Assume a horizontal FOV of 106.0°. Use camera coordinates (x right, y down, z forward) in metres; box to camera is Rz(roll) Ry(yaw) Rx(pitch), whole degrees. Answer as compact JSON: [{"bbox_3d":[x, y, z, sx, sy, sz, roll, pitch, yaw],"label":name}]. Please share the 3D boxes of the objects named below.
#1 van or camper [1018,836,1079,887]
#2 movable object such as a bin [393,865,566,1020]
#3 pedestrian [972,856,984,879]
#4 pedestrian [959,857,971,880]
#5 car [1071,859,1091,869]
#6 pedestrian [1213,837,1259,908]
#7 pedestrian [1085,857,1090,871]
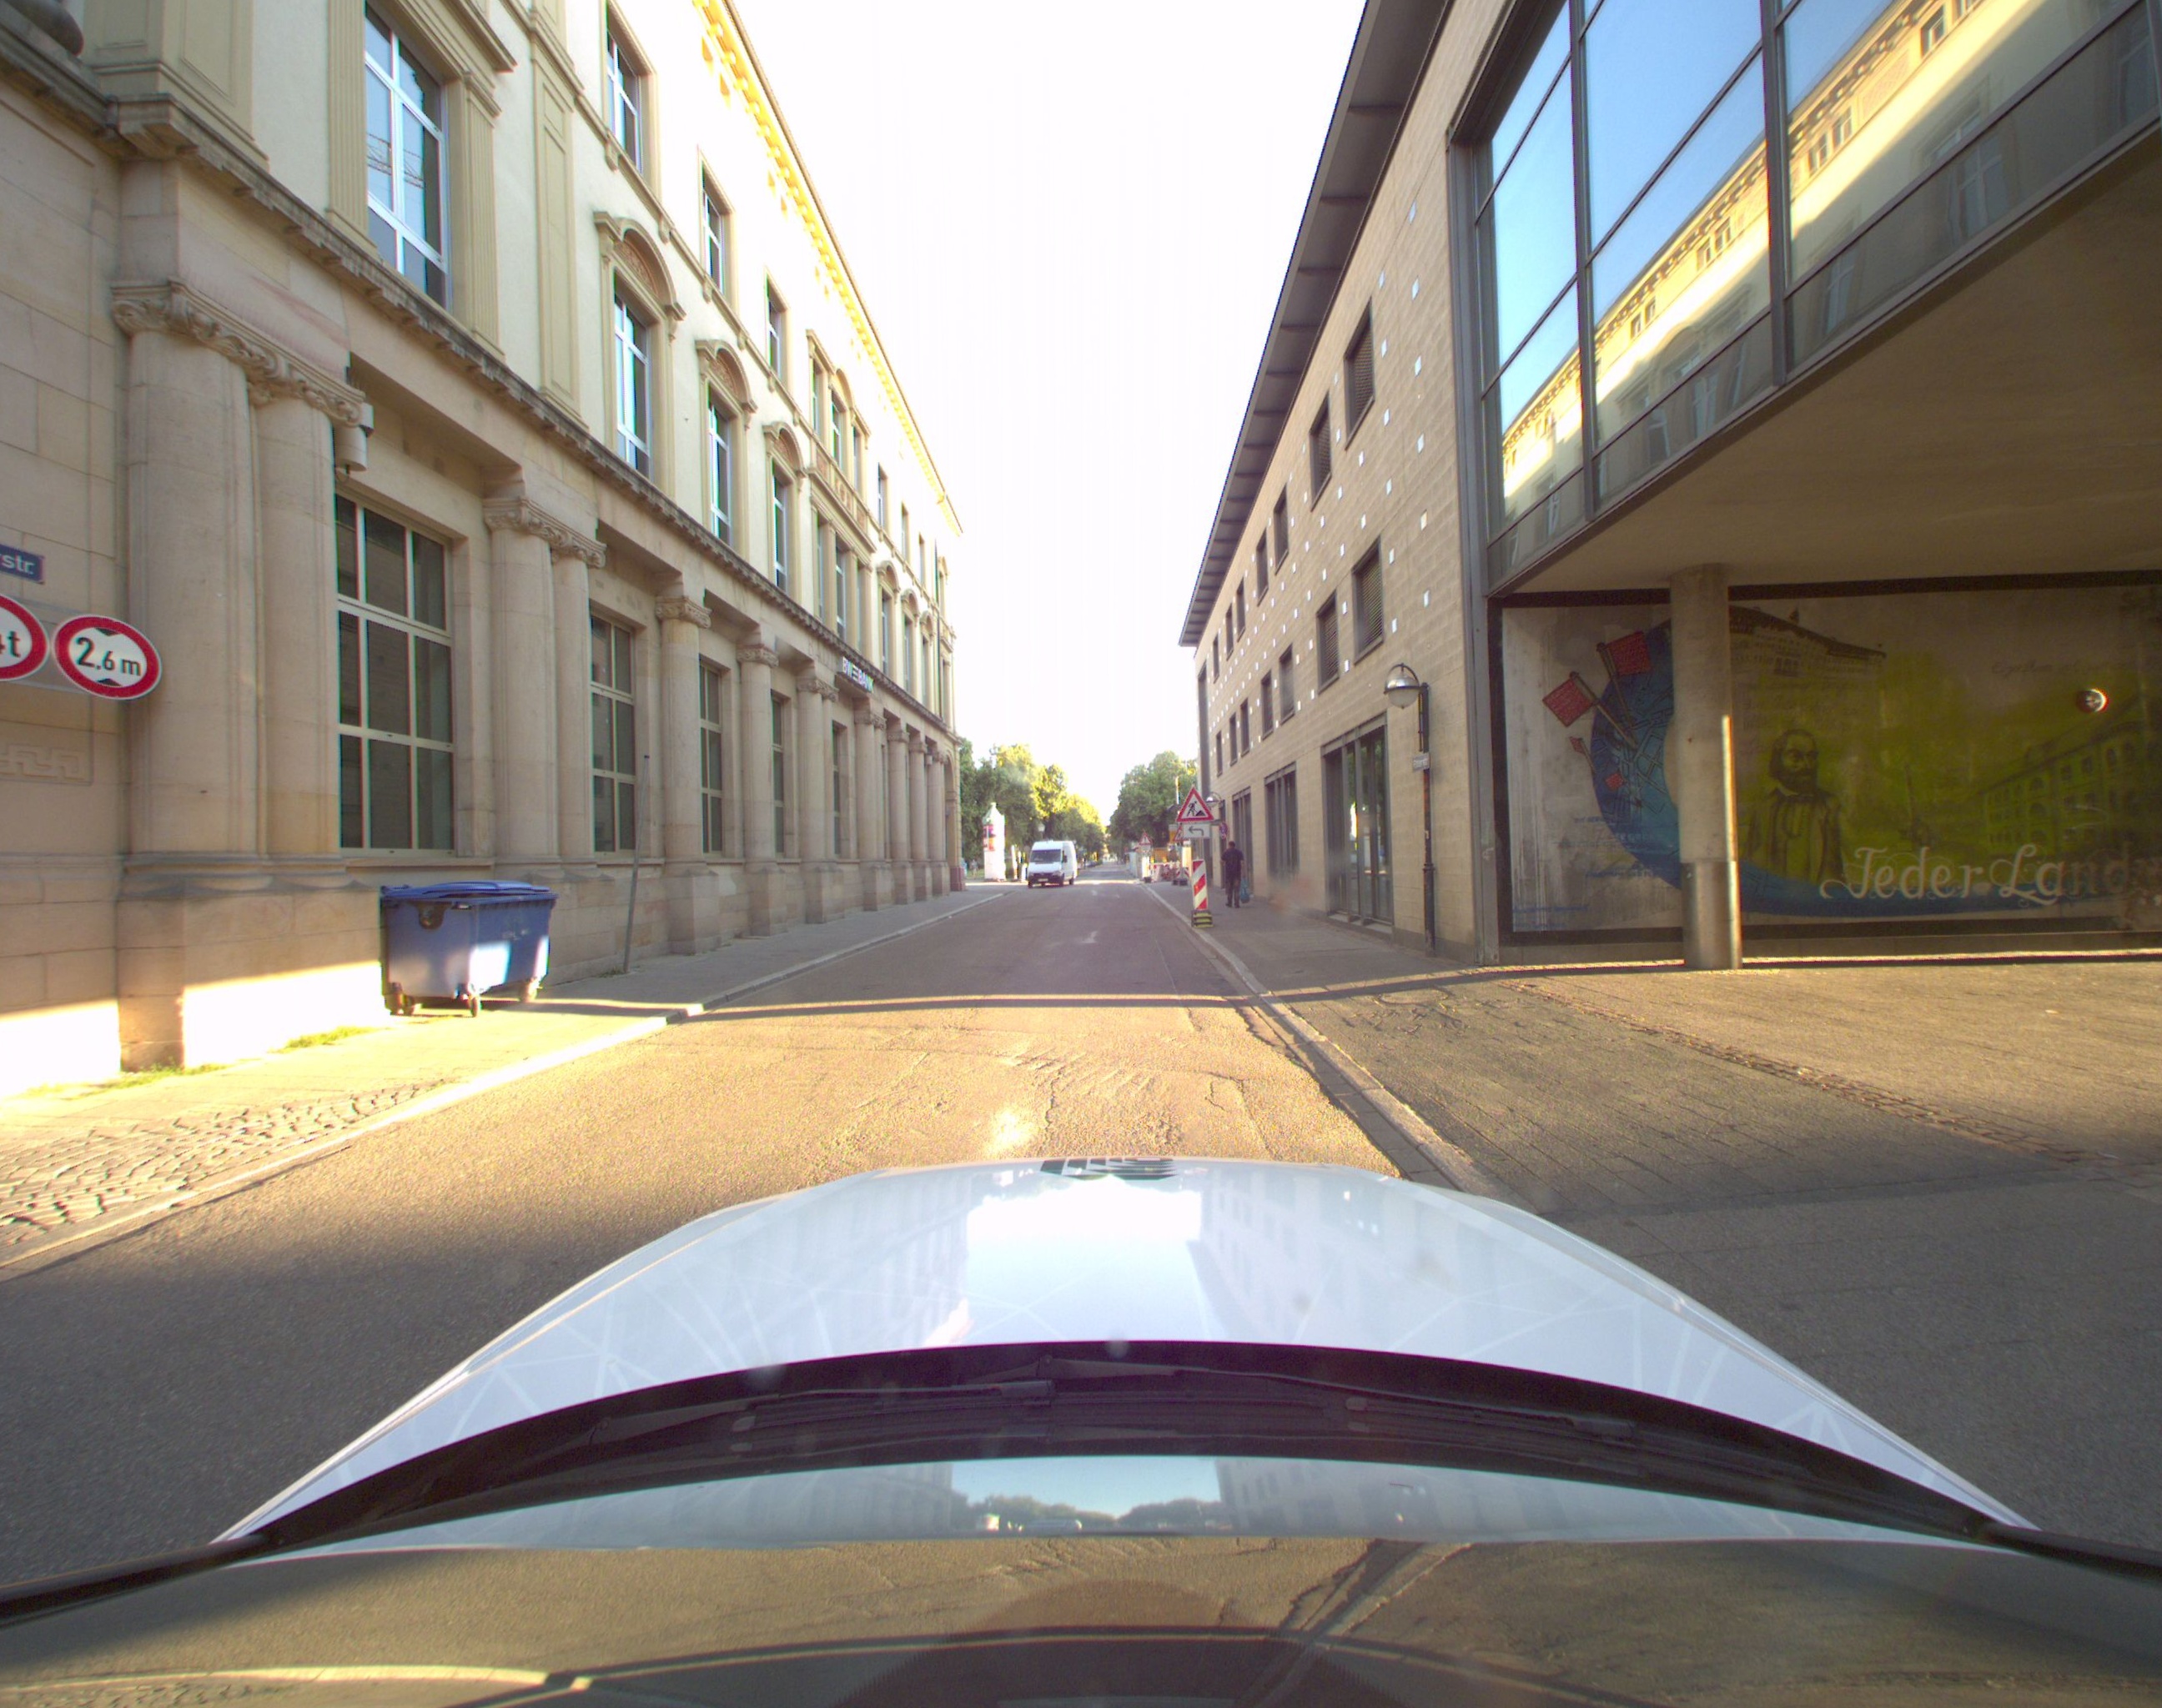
[{"bbox_3d":[-1.680,0.366,45.183,2.207,2.585,6.385,-2,0,8],"label":"van or camper"},{"bbox_3d":[-6.382,0.889,8.732,0.825,1.503,1.292,-1,0,3],"label":"movable object such as a bin"},{"bbox_3d":[-8.264,1.096,65.187,0.850,1.807,0.661,-1,-1,-11],"label":"pedestrian"},{"bbox_3d":[-9.249,1.183,64.969,0.850,1.807,0.661,-1,-1,-11],"label":"pedestrian"},{"bbox_3d":[-0.031,1.962,161.210,3.539,1.783,1.795,-3,-1,11],"label":"car"},{"bbox_3d":[4.137,0.499,21.850,0.997,1.803,0.882,-3,-1,1],"label":"pedestrian"},{"bbox_3d":[0.893,1.381,115.212,0.609,2.014,0.902,-1,-1,-6],"label":"pedestrian"}]
